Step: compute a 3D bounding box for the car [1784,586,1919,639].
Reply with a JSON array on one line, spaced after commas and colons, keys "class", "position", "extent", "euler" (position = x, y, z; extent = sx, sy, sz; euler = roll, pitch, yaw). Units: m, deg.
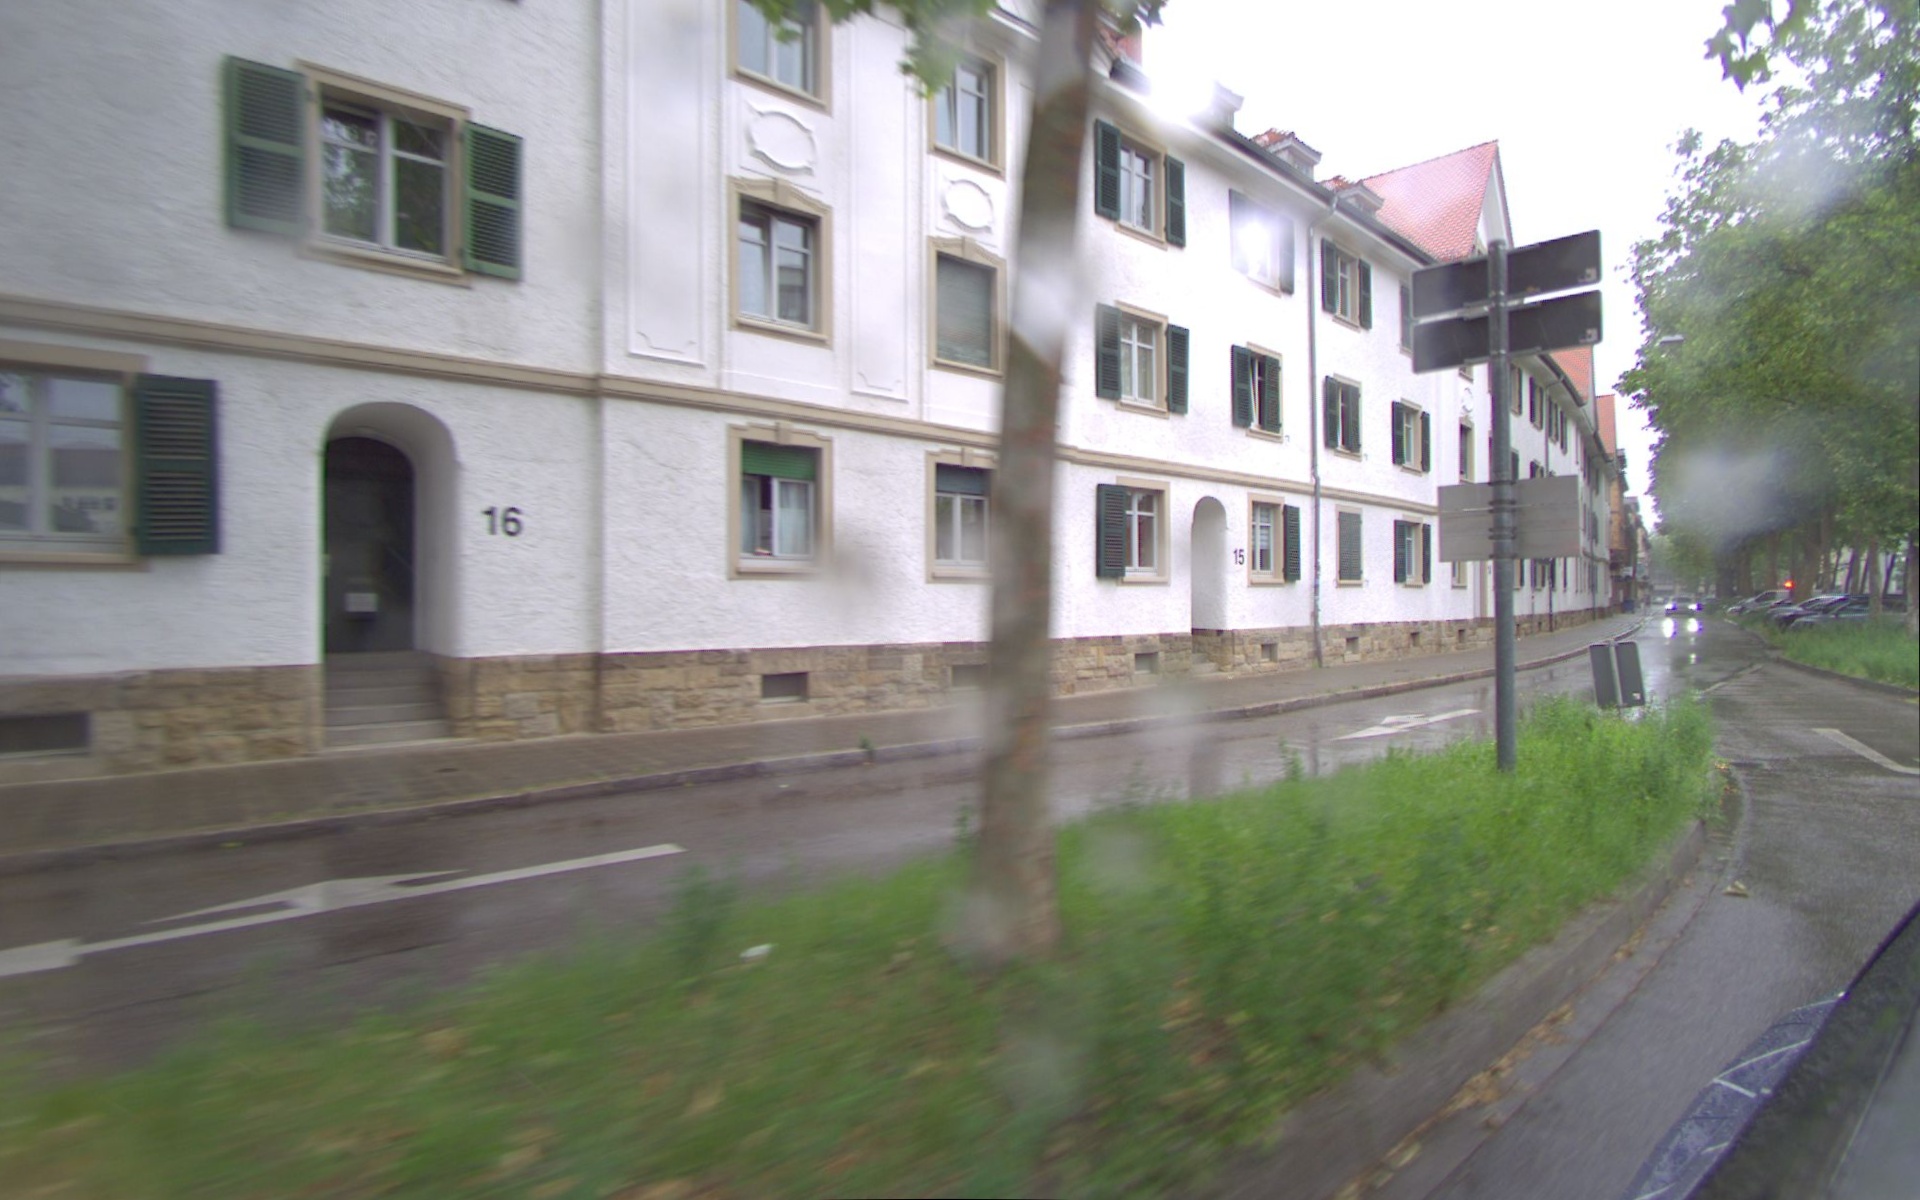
[{"class": "car", "position": [30.417, 0.373, 33.754], "extent": [1.712, 1.630, 4.240], "euler": [0, 2, -23]}]

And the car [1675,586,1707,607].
[{"class": "car", "position": [56.382, -0.280, 78.048], "extent": [1.842, 1.616, 4.159], "euler": [0, 1, 38]}]

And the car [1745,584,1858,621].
[{"class": "car", "position": [50.751, 0.104, 61.163], "extent": [1.958, 2.038, 4.903], "euler": [0, 2, -23]}]

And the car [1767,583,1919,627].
[{"class": "car", "position": [35.489, 0.155, 40.774], "extent": [1.713, 1.632, 4.340], "euler": [0, 2, -28]}]

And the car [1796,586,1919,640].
[{"class": "car", "position": [29.409, 0.382, 31.938], "extent": [1.890, 1.560, 4.240], "euler": [0, 2, -23]}]
